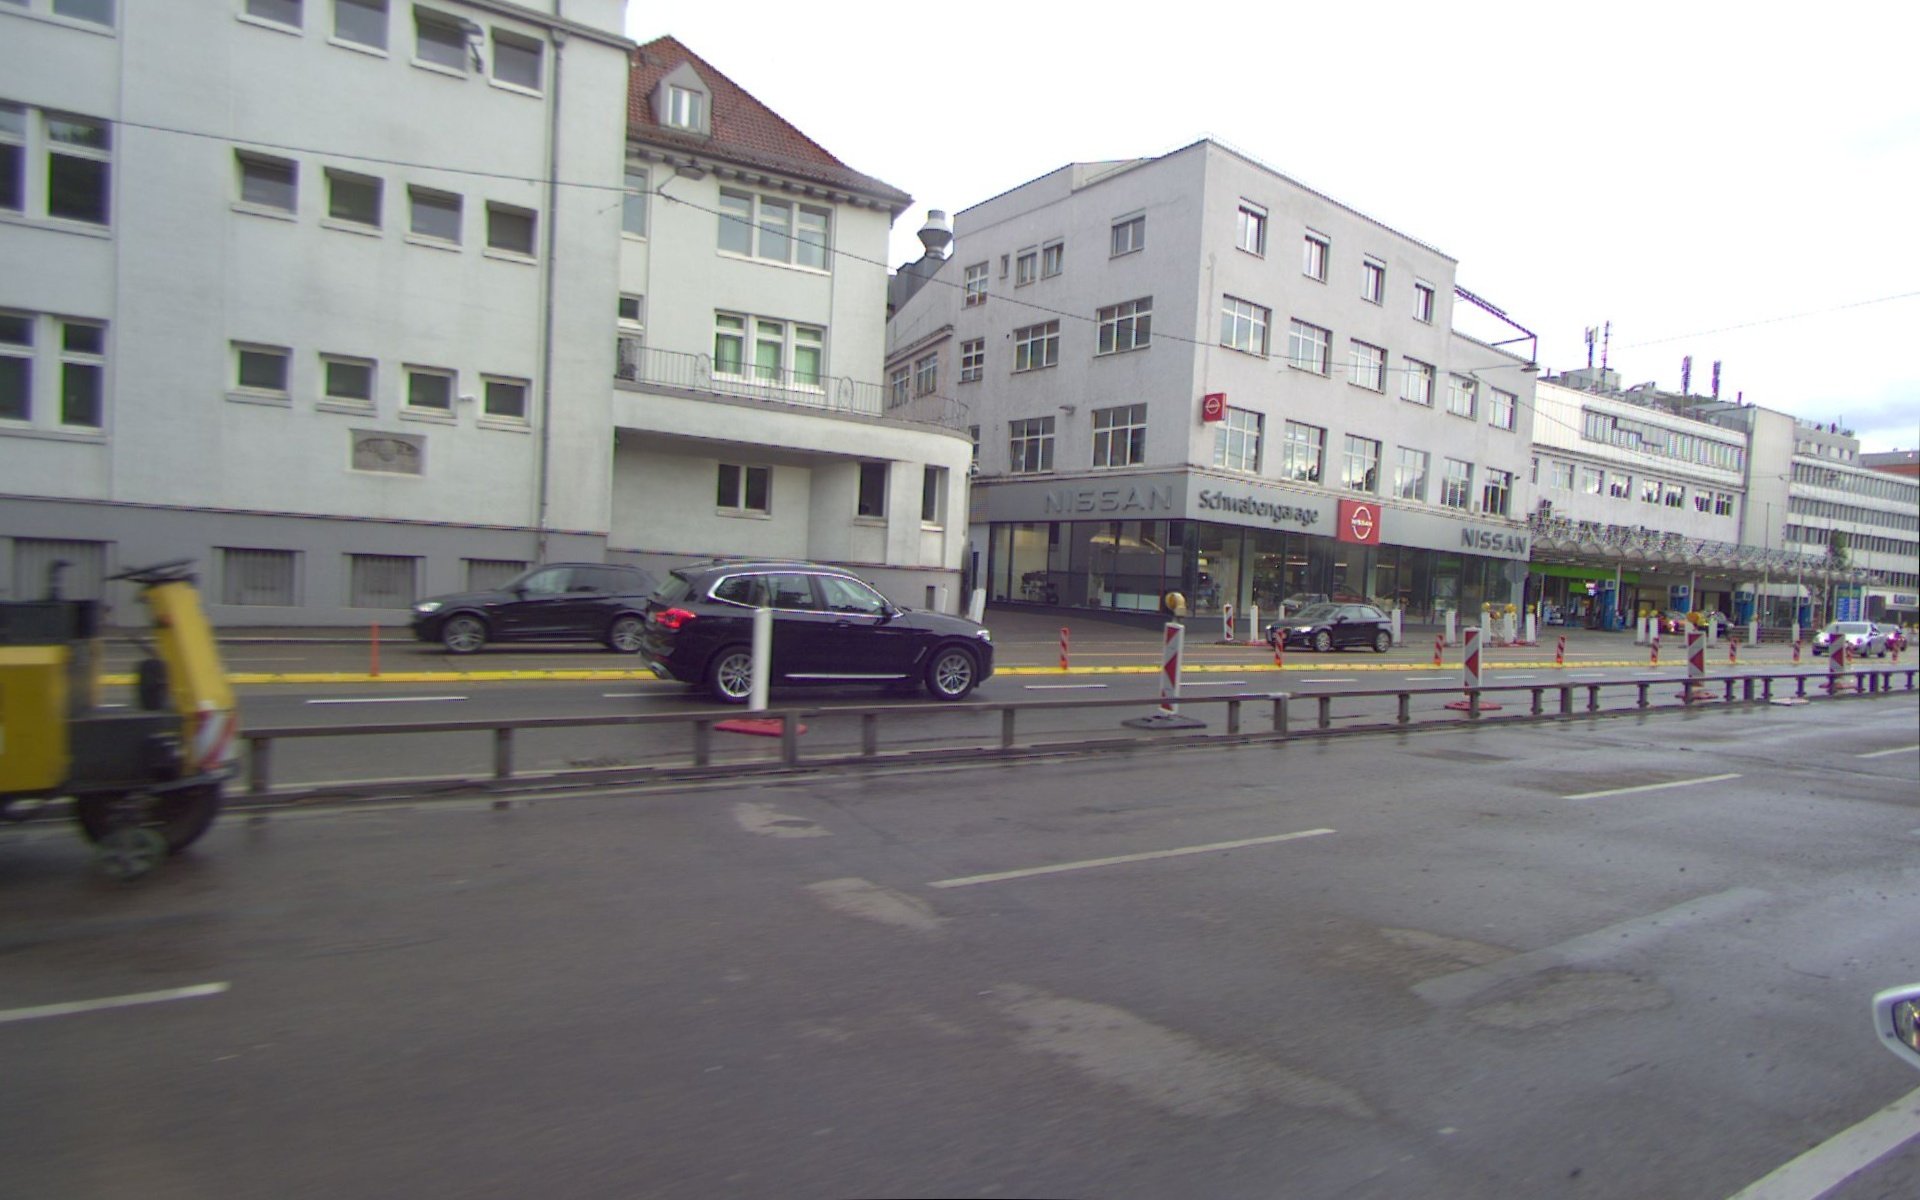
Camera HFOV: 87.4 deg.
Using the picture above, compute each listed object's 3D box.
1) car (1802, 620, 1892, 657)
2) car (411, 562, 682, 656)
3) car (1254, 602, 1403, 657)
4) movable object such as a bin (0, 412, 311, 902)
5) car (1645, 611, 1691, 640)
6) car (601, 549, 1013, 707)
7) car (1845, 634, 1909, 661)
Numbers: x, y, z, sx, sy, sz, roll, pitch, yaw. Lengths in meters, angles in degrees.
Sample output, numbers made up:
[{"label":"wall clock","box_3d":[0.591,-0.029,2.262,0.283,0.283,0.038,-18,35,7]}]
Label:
[{"label":"car","box_3d":[37.019,1.608,41.895,4.410,1.400,1.768,2,0,-34]},{"label":"car","box_3d":[-7.731,0.178,18.868,4.503,1.564,1.825,2,2,-30]},{"label":"car","box_3d":[10.777,0.877,29.335,4.200,1.424,1.754,2,1,-30]},{"label":"movable object such as a bin","box_3d":[-5.220,0.230,4.892,3.310,2.178,1.707,2,0,-30]},{"label":"car","box_3d":[47.933,1.720,68.072,1.772,1.677,3.996,5,3,25]},{"label":"car","box_3d":[-1.965,0.330,13.083,4.918,1.729,1.987,2,3,-26]},{"label":"car","box_3d":[52.092,2.668,57.055,3.959,1.400,1.768,2,0,-34]}]
